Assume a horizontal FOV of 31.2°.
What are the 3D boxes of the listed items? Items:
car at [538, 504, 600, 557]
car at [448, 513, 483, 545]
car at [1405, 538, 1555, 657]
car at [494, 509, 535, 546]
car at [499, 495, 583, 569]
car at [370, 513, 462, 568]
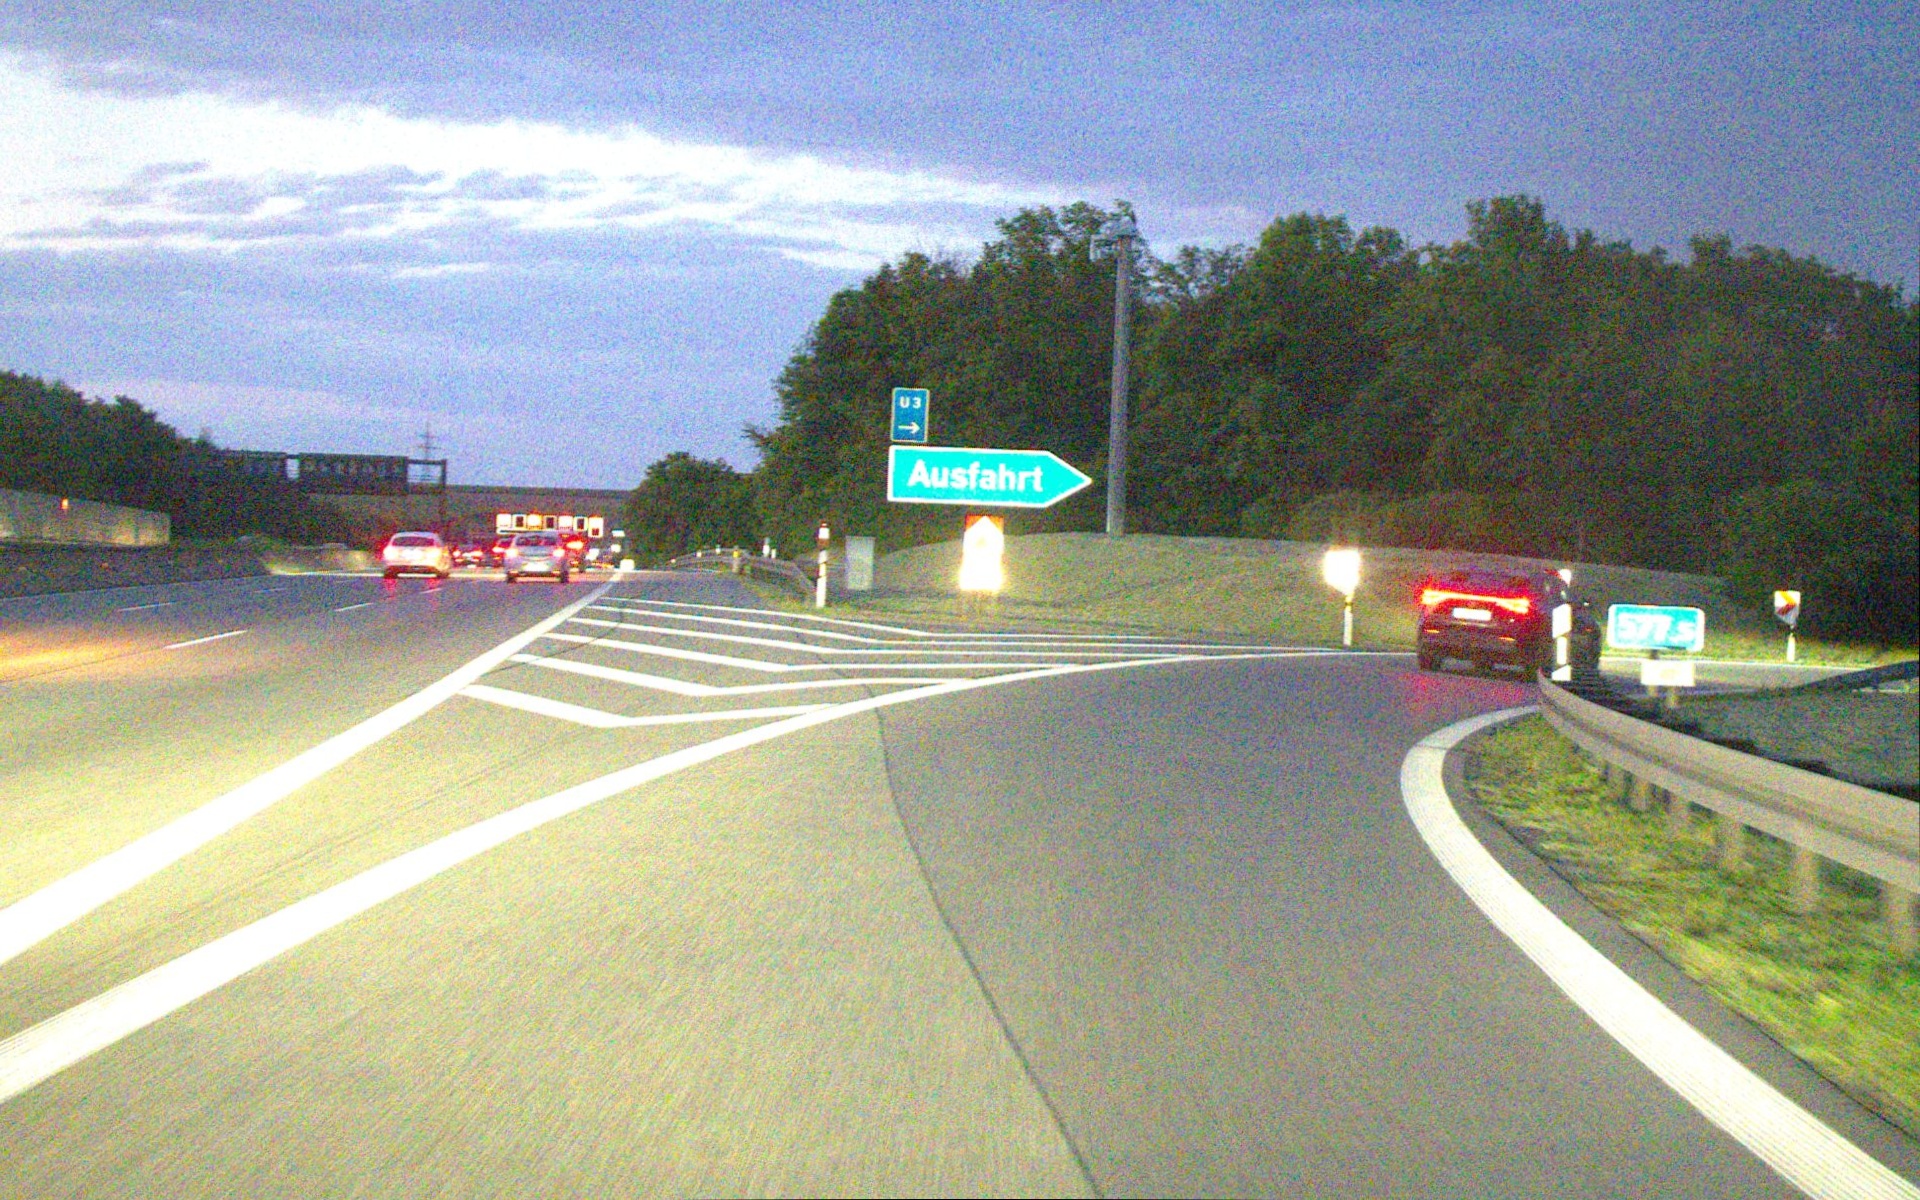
[{"bbox_3d":[-14.994,-2.686,132.070,1.993,2.006,4.001,0,2,-1],"label":"car"},{"bbox_3d":[-31.628,-4.534,219.960,2.104,2.006,4.001,-1,2,-6],"label":"car"},{"bbox_3d":[7.801,-0.050,51.316,1.994,1.653,4.313,2,1,11],"label":"car"},{"bbox_3d":[-24.237,-3.970,187.282,2.071,2.006,4.001,0,2,-5],"label":"car"},{"bbox_3d":[-11.777,-1.936,96.838,1.993,2.007,4.001,1,1,-2],"label":"car"},{"bbox_3d":[-16.816,-1.866,106.428,1.993,1.637,4.555,0,2,2],"label":"car"}]
